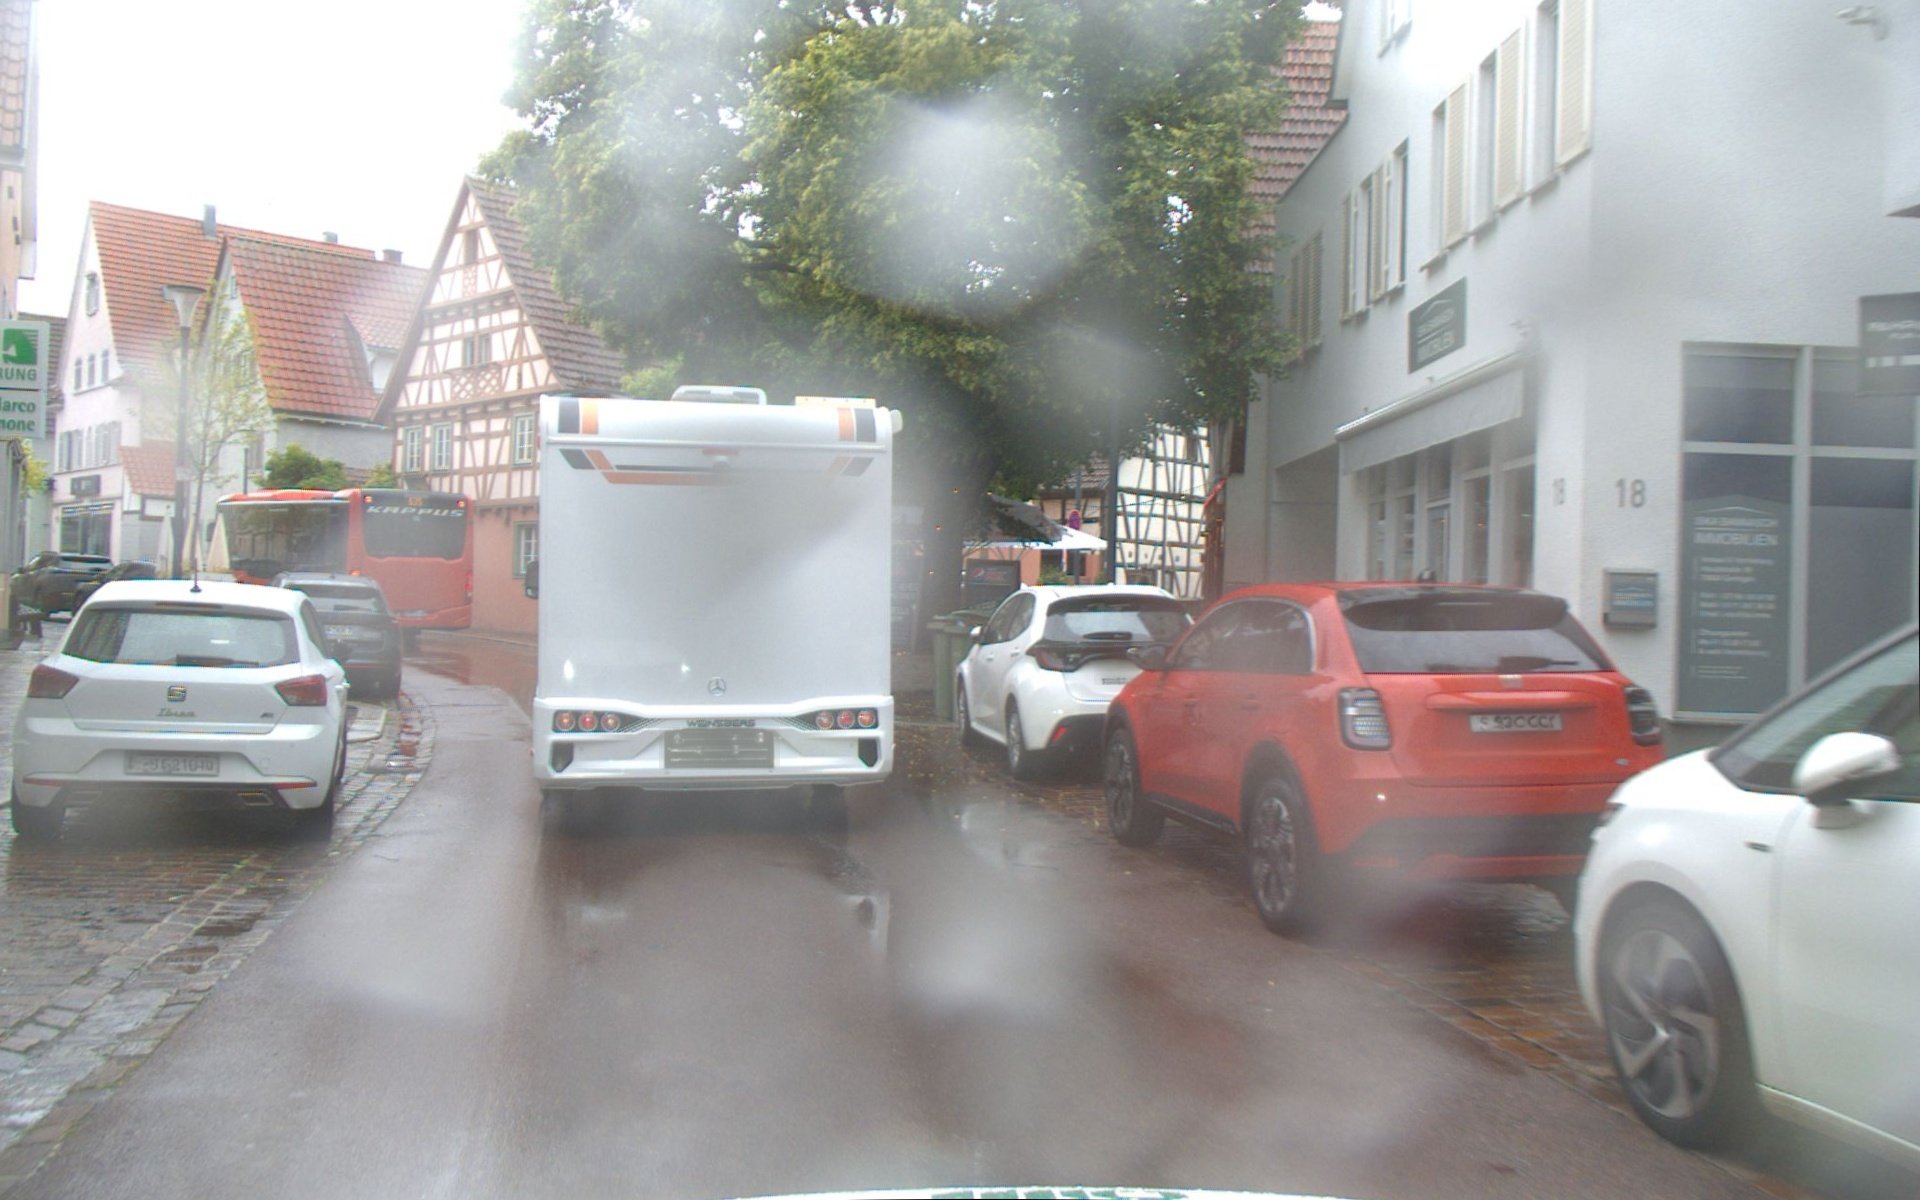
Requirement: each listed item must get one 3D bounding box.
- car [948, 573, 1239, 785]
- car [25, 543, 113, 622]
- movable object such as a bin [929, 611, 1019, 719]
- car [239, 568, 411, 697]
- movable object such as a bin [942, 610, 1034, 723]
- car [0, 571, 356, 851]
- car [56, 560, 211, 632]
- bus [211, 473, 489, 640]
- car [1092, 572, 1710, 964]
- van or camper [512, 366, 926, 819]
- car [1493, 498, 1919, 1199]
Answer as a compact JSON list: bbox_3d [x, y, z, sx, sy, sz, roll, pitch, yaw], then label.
[{"bbox_3d":[0.993,0.557,14.190,1.646,1.555,3.792,0,1,-9],"label":"car"},{"bbox_3d":[-20.815,-0.384,38.693,1.679,1.704,3.855,2,-1,-28],"label":"car"},{"bbox_3d":[0.146,0.694,17.830,0.819,1.132,0.586,2,-1,-15],"label":"movable object such as a bin"},{"bbox_3d":[-8.251,0.363,21.299,1.700,1.439,3.948,2,1,-26],"label":"car"},{"bbox_3d":[0.289,0.689,17.255,0.819,1.132,0.559,2,-1,-15],"label":"movable object such as a bin"},{"bbox_3d":[-4.885,0.587,10.758,1.696,1.439,3.958,3,0,-20],"label":"car"},{"bbox_3d":[-17.492,-0.095,34.955,1.851,1.367,3.737,4,-2,-44],"label":"car"},{"bbox_3d":[-13.774,-0.873,36.600,2.792,3.143,10.467,2,-1,-37],"label":"bus"},{"bbox_3d":[1.972,0.651,8.590,1.647,1.555,3.790,0,0,-10],"label":"car"},{"bbox_3d":[-2.283,-0.049,13.186,2.398,2.631,6.723,1,0,-16],"label":"van or camper"},{"bbox_3d":[3.075,0.627,3.411,1.745,1.659,4.455,1,0,-12],"label":"car"}]
